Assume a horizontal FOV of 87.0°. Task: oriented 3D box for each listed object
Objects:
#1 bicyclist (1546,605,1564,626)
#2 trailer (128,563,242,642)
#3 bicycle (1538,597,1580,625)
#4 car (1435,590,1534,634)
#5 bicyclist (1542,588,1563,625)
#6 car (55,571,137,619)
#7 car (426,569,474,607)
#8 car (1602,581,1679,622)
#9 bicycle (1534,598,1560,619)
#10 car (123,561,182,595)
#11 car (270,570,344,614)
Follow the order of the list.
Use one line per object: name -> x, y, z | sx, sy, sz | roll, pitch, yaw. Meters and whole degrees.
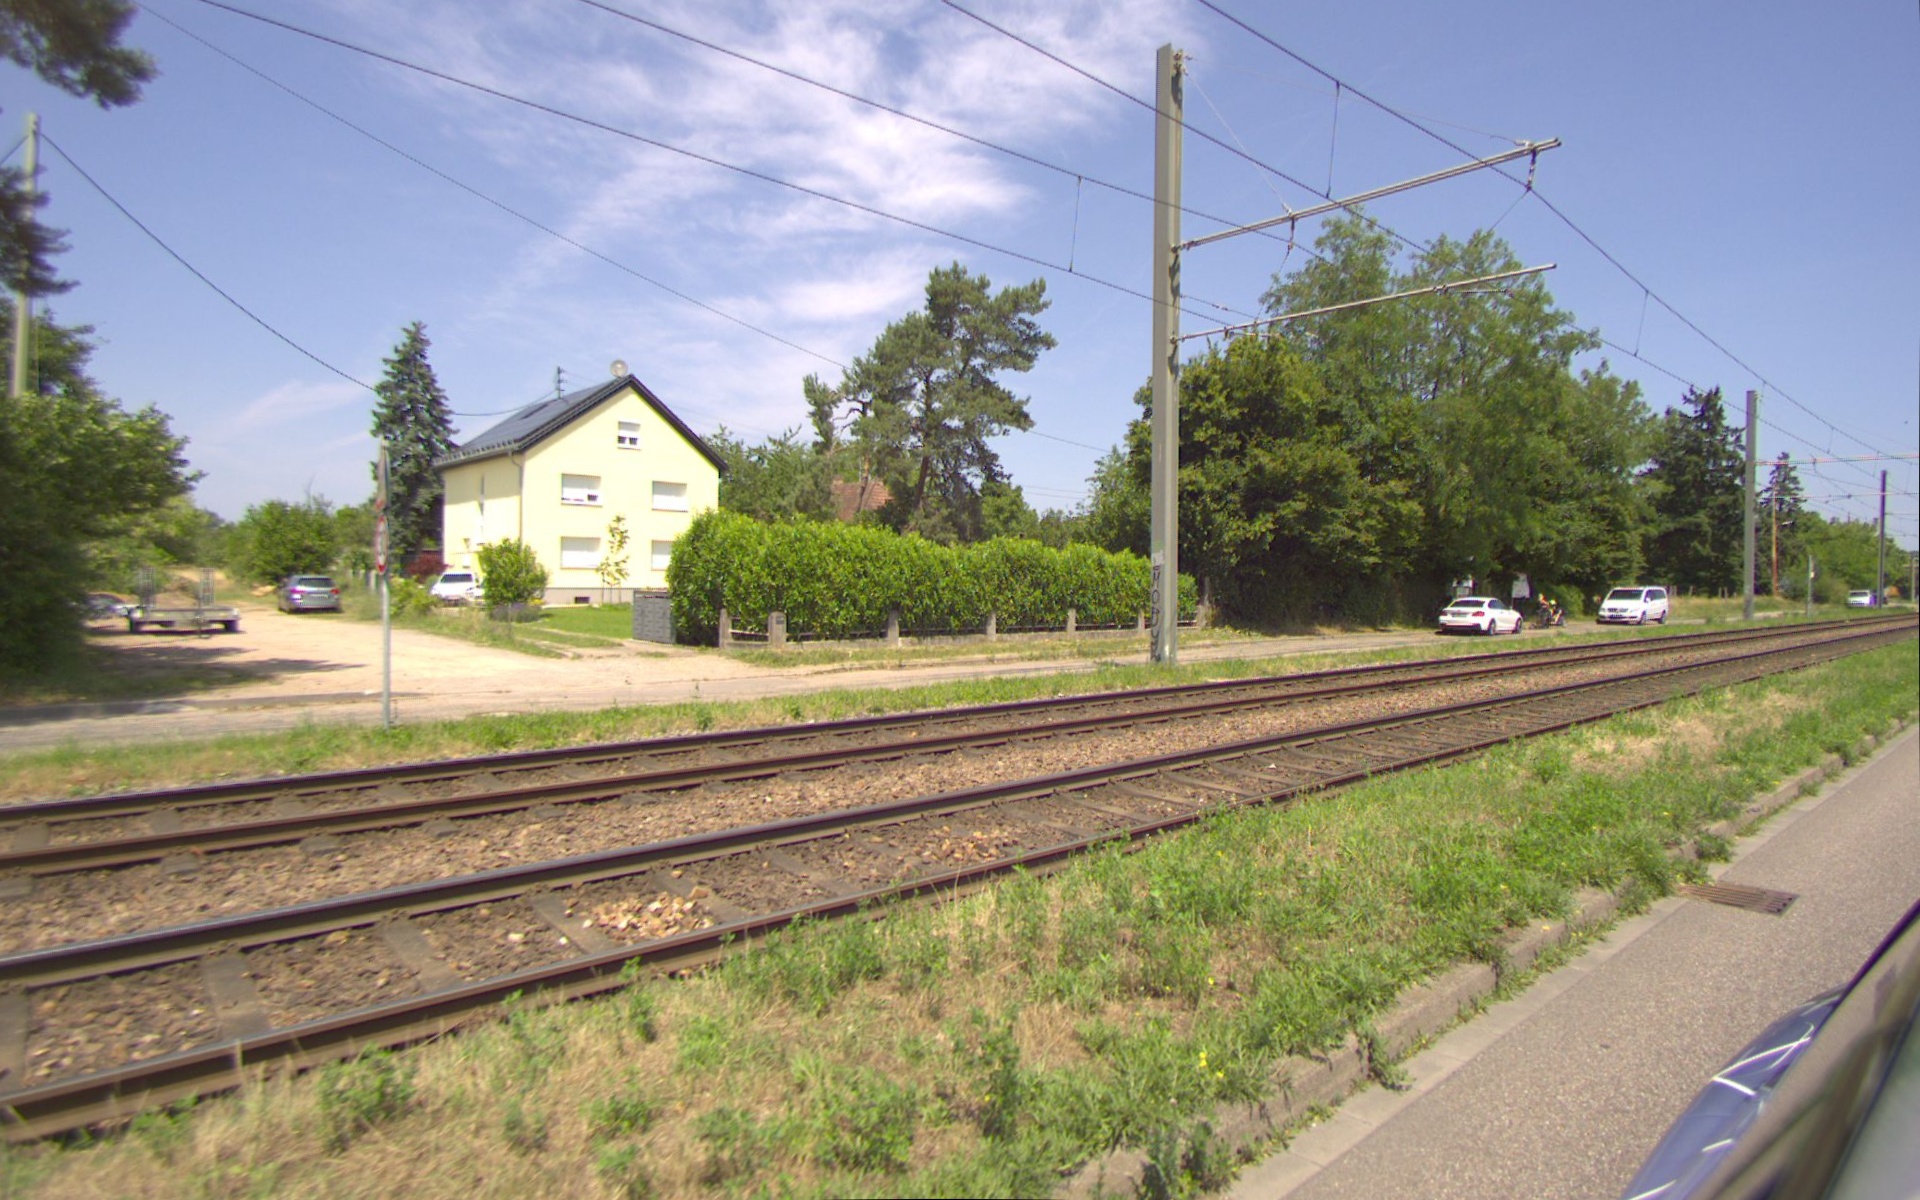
bicyclist -> 26.885, 0.685, 45.735 | 0.522, 0.886, 0.751 | 2, 2, 44
trailer -> -19.999, -0.042, 26.072 | 2.124, 1.829, 5.134 | -1, 3, -39
bicycle -> 26.896, 0.476, 45.422 | 1.630, 1.160, 1.147 | -2, 2, -41
car -> 20.009, 0.404, 38.507 | 4.550, 1.467, 1.800 | -2, 3, -41
bicyclist -> 26.255, 0.267, 44.842 | 0.608, 1.608, 0.911 | 2, 2, 44
car -> -30.390, -0.225, 35.567 | 2.085, 1.550, 4.201 | -2, 3, -42
car -> -22.941, -0.572, 45.474 | 1.745, 1.606, 4.005 | -1, 2, -29
car -> 34.438, 0.005, 51.164 | 4.928, 1.899, 1.997 | -2, 3, -41
bicycle -> 25.913, 0.377, 44.675 | 0.784, 0.886, 0.750 | -1, 2, -41
car -> -36.232, -1.006, 45.376 | 1.773, 1.437, 4.324 | -2, 3, -43
car -> -25.385, -0.348, 39.302 | 1.868, 1.593, 3.994 | -1, 3, -41
